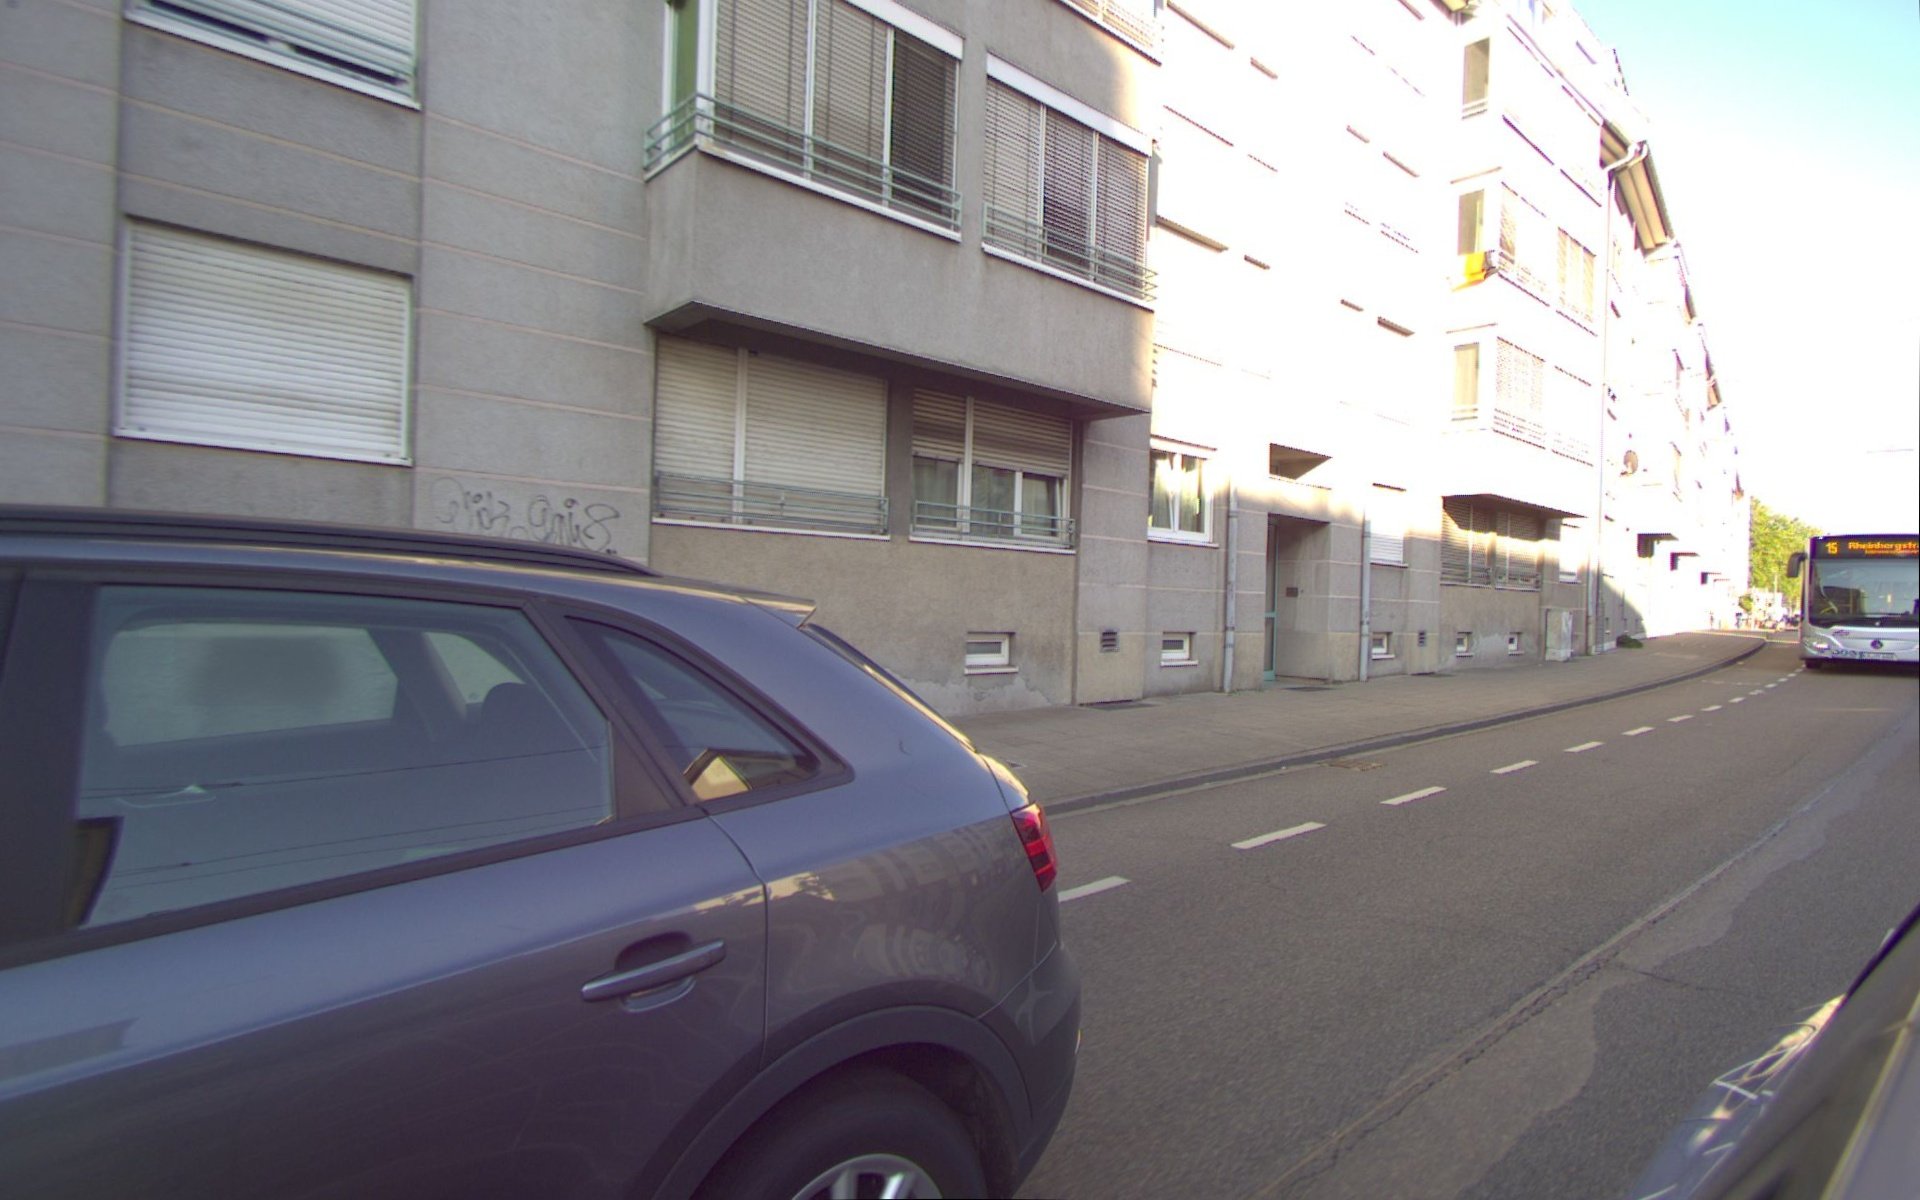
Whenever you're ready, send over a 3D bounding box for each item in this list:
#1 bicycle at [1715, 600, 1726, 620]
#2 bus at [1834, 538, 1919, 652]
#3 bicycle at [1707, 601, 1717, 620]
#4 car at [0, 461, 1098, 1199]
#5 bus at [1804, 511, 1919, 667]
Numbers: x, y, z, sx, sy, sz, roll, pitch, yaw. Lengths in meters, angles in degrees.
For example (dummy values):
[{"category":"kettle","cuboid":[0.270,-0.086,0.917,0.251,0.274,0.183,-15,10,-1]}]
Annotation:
[{"category":"bicycle","cuboid":[41.492,0.555,55.237,0.359,1.044,1.705,5,3,39]},{"category":"bus","cuboid":[29.702,-0.102,31.943,2.705,3.116,10.432,0,-1,44]},{"category":"bicycle","cuboid":[41.234,0.580,55.490,0.278,0.983,1.705,5,3,39]},{"category":"car","cuboid":[-1.820,0.646,1.260,3.998,1.607,1.769,1,0,-42]},{"category":"bus","cuboid":[22.510,-0.188,24.341,2.724,3.116,10.432,0,-1,44]}]
